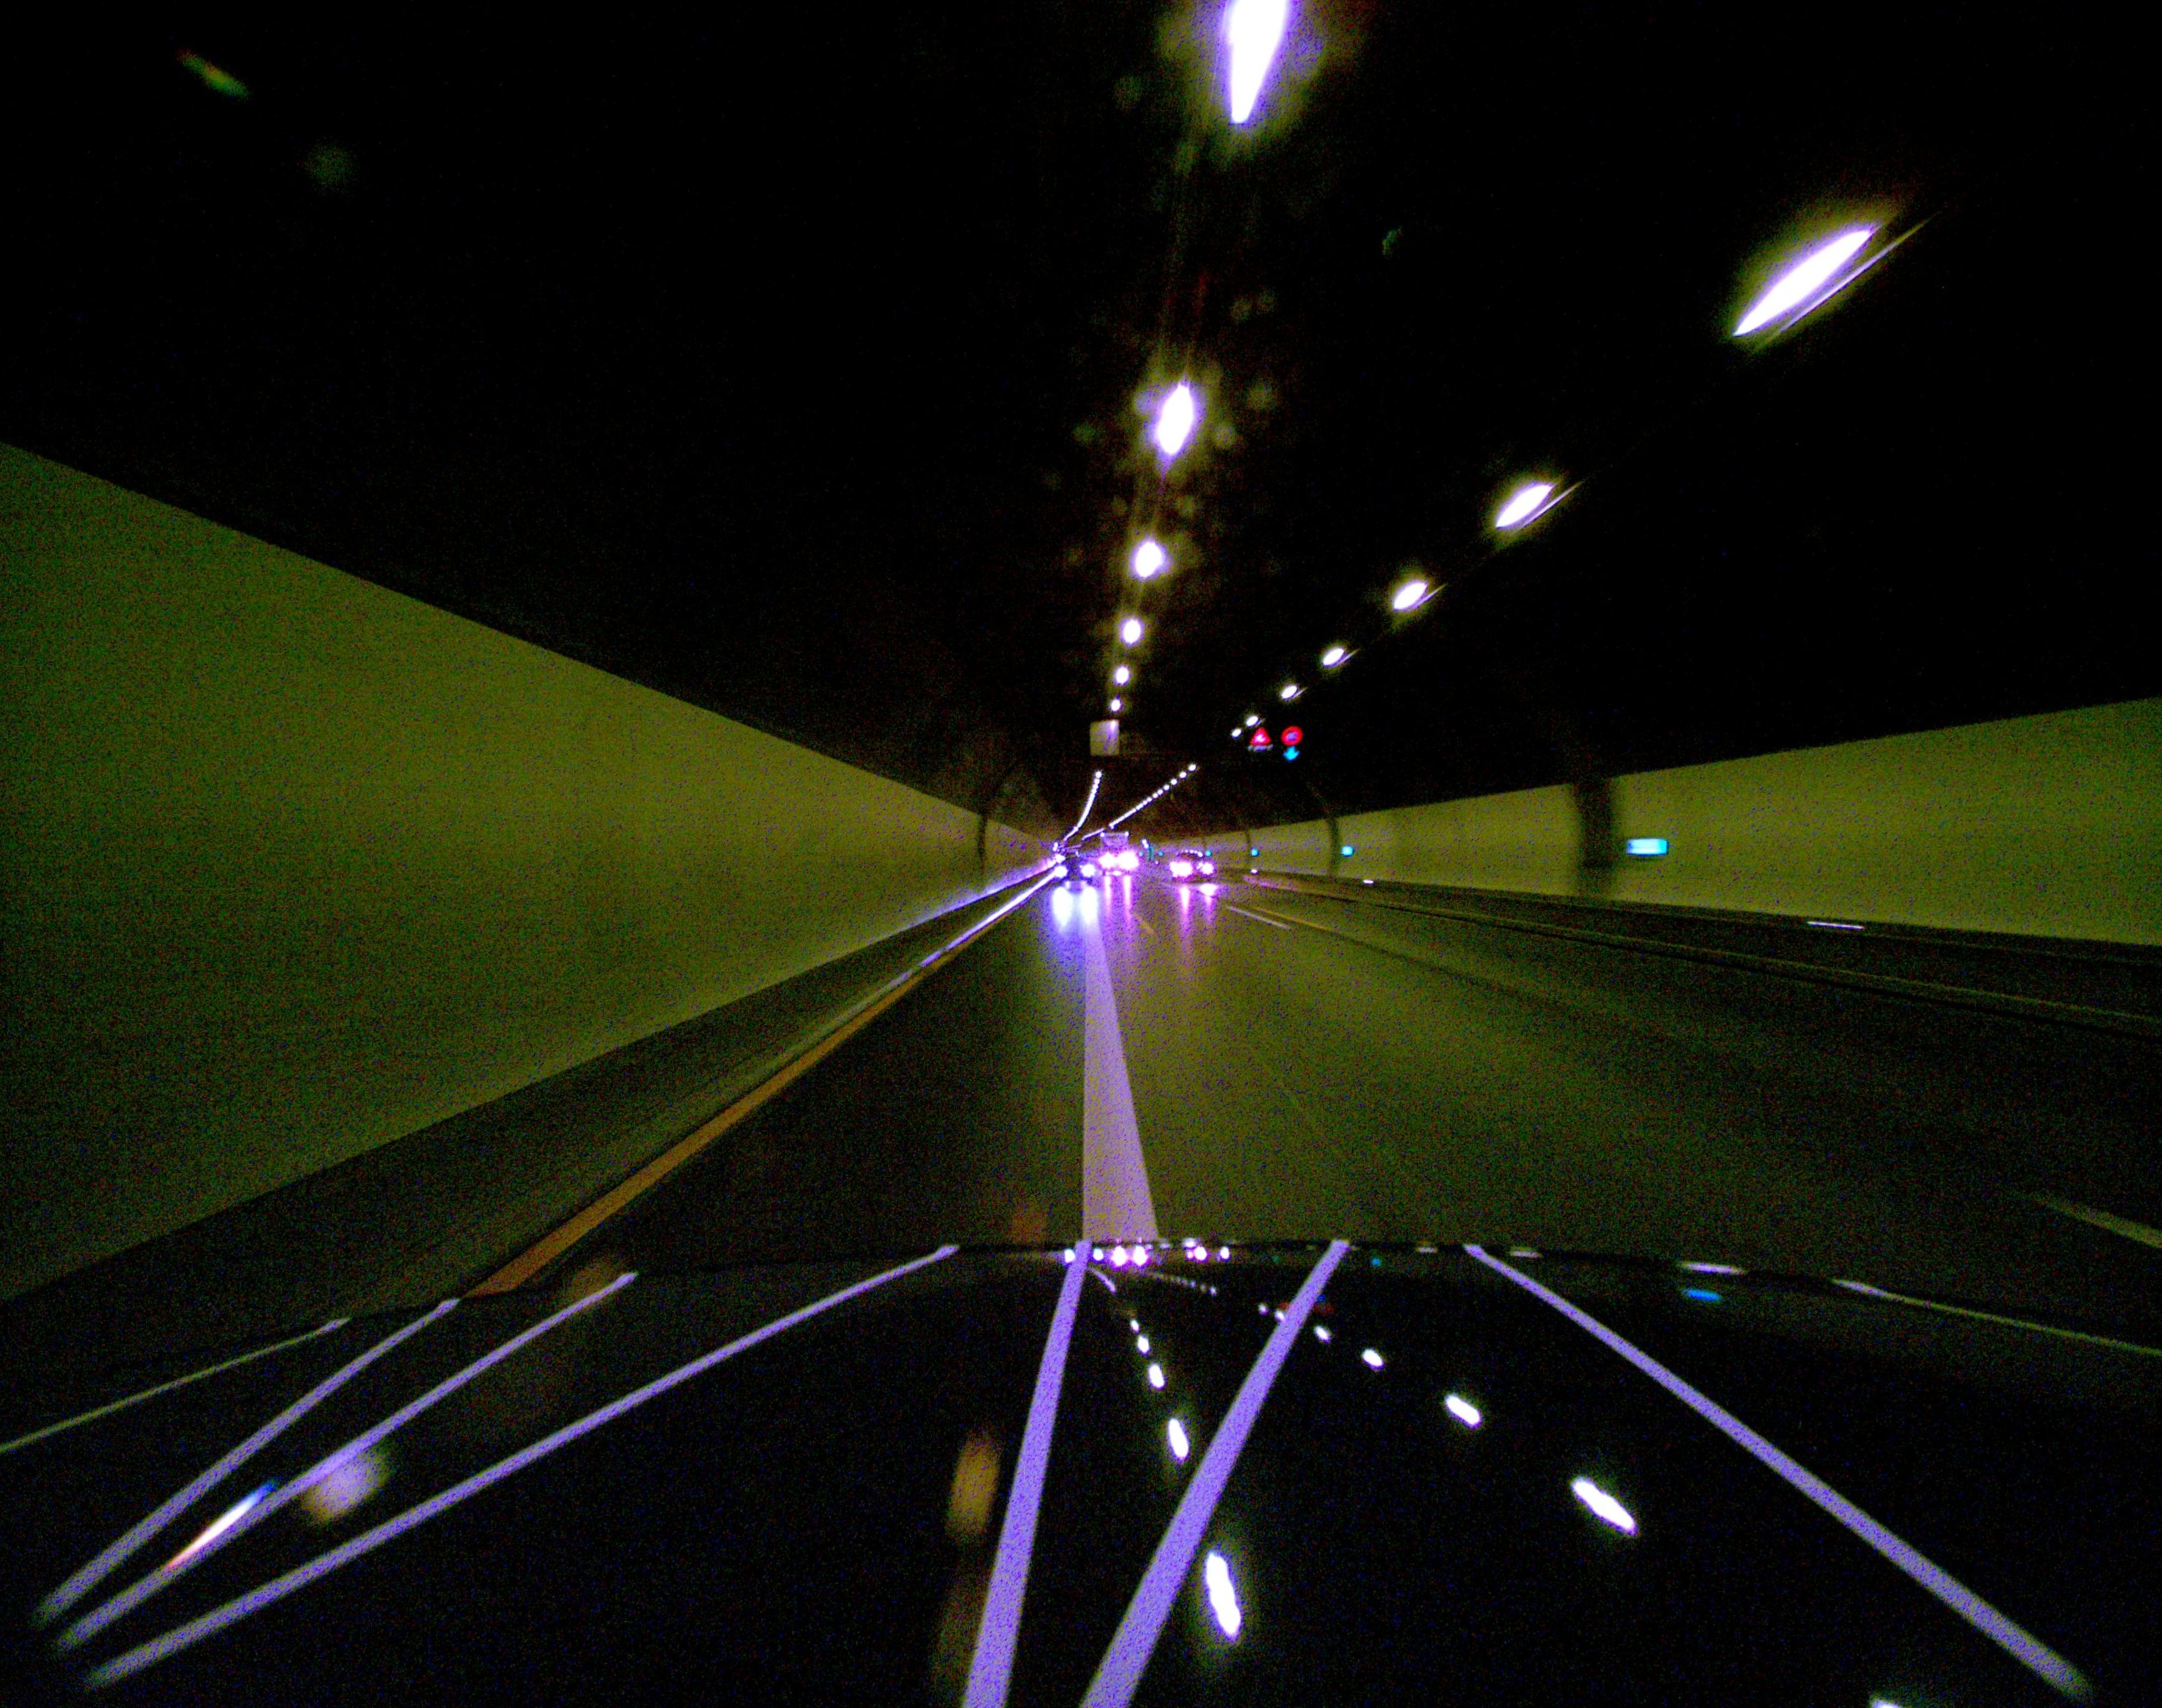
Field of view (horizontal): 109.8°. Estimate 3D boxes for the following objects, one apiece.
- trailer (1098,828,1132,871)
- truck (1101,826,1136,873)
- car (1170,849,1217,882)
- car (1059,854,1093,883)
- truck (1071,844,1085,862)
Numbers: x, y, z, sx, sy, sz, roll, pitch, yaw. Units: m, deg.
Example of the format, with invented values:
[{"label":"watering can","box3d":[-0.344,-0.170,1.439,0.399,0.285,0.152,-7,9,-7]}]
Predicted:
[{"label":"trailer","box3d":[2.768,-0.379,65.030,2.374,3.328,12.077,0,0,0]},{"label":"truck","box3d":[2.807,-0.379,58.294,2.374,3.328,4.719,-3,1,1]},{"label":"car","box3d":[5.765,0.537,39.252,1.766,1.563,4.096,-2,1,0]},{"label":"car","box3d":[-0.234,0.768,41.527,1.728,1.474,4.000,-1,0,2]},{"label":"truck","box3d":[-0.496,-0.073,124.526,2.151,2.609,9.907,-1,-1,-1]}]
